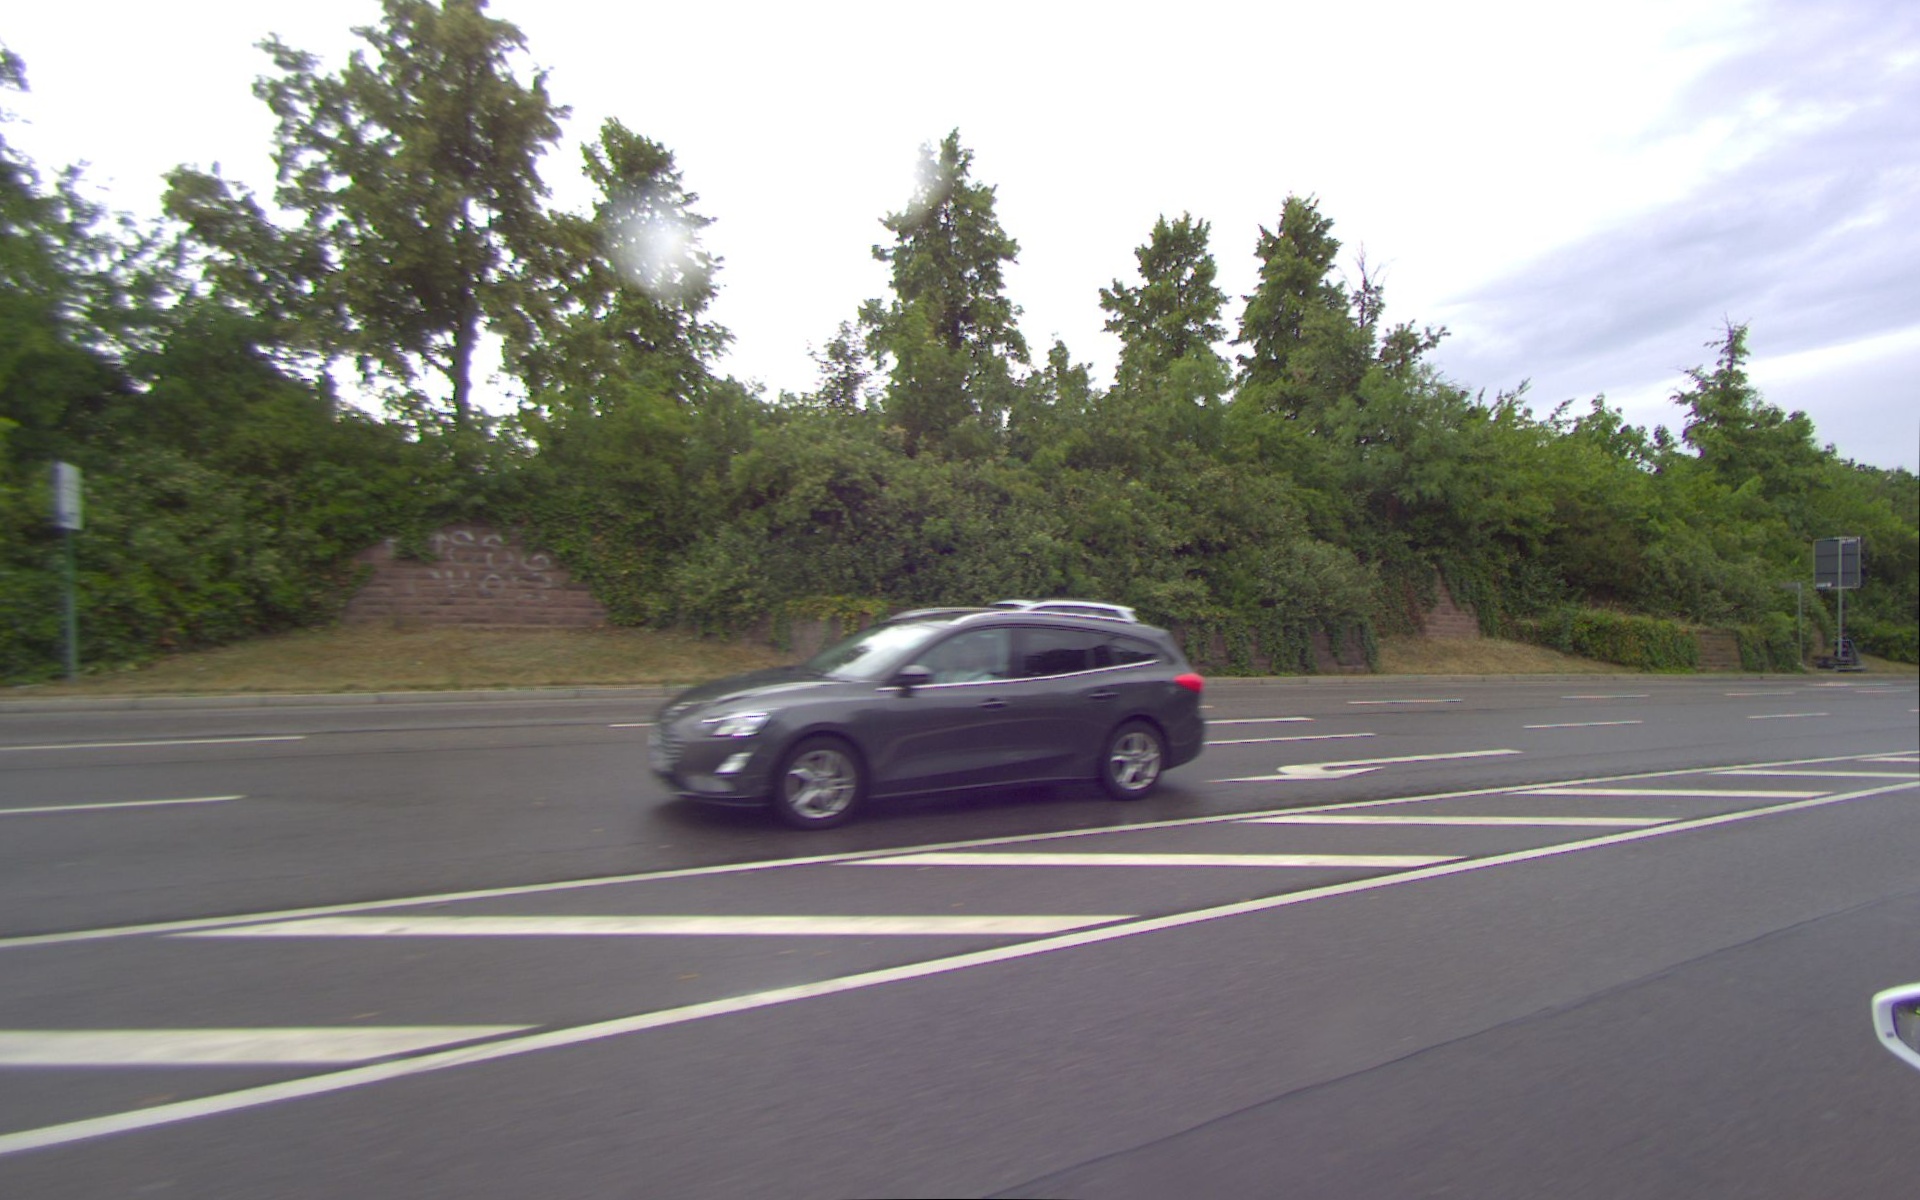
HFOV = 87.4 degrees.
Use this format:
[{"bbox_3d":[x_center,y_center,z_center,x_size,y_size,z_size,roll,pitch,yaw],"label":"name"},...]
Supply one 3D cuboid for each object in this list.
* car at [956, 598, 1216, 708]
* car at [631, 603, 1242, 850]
[{"bbox_3d":[2.073,0.818,16.361,3.950,1.612,1.717,1,0,-28],"label":"car"},{"bbox_3d":[-0.080,0.822,8.021,4.589,1.491,1.770,1,0,-29],"label":"car"}]
